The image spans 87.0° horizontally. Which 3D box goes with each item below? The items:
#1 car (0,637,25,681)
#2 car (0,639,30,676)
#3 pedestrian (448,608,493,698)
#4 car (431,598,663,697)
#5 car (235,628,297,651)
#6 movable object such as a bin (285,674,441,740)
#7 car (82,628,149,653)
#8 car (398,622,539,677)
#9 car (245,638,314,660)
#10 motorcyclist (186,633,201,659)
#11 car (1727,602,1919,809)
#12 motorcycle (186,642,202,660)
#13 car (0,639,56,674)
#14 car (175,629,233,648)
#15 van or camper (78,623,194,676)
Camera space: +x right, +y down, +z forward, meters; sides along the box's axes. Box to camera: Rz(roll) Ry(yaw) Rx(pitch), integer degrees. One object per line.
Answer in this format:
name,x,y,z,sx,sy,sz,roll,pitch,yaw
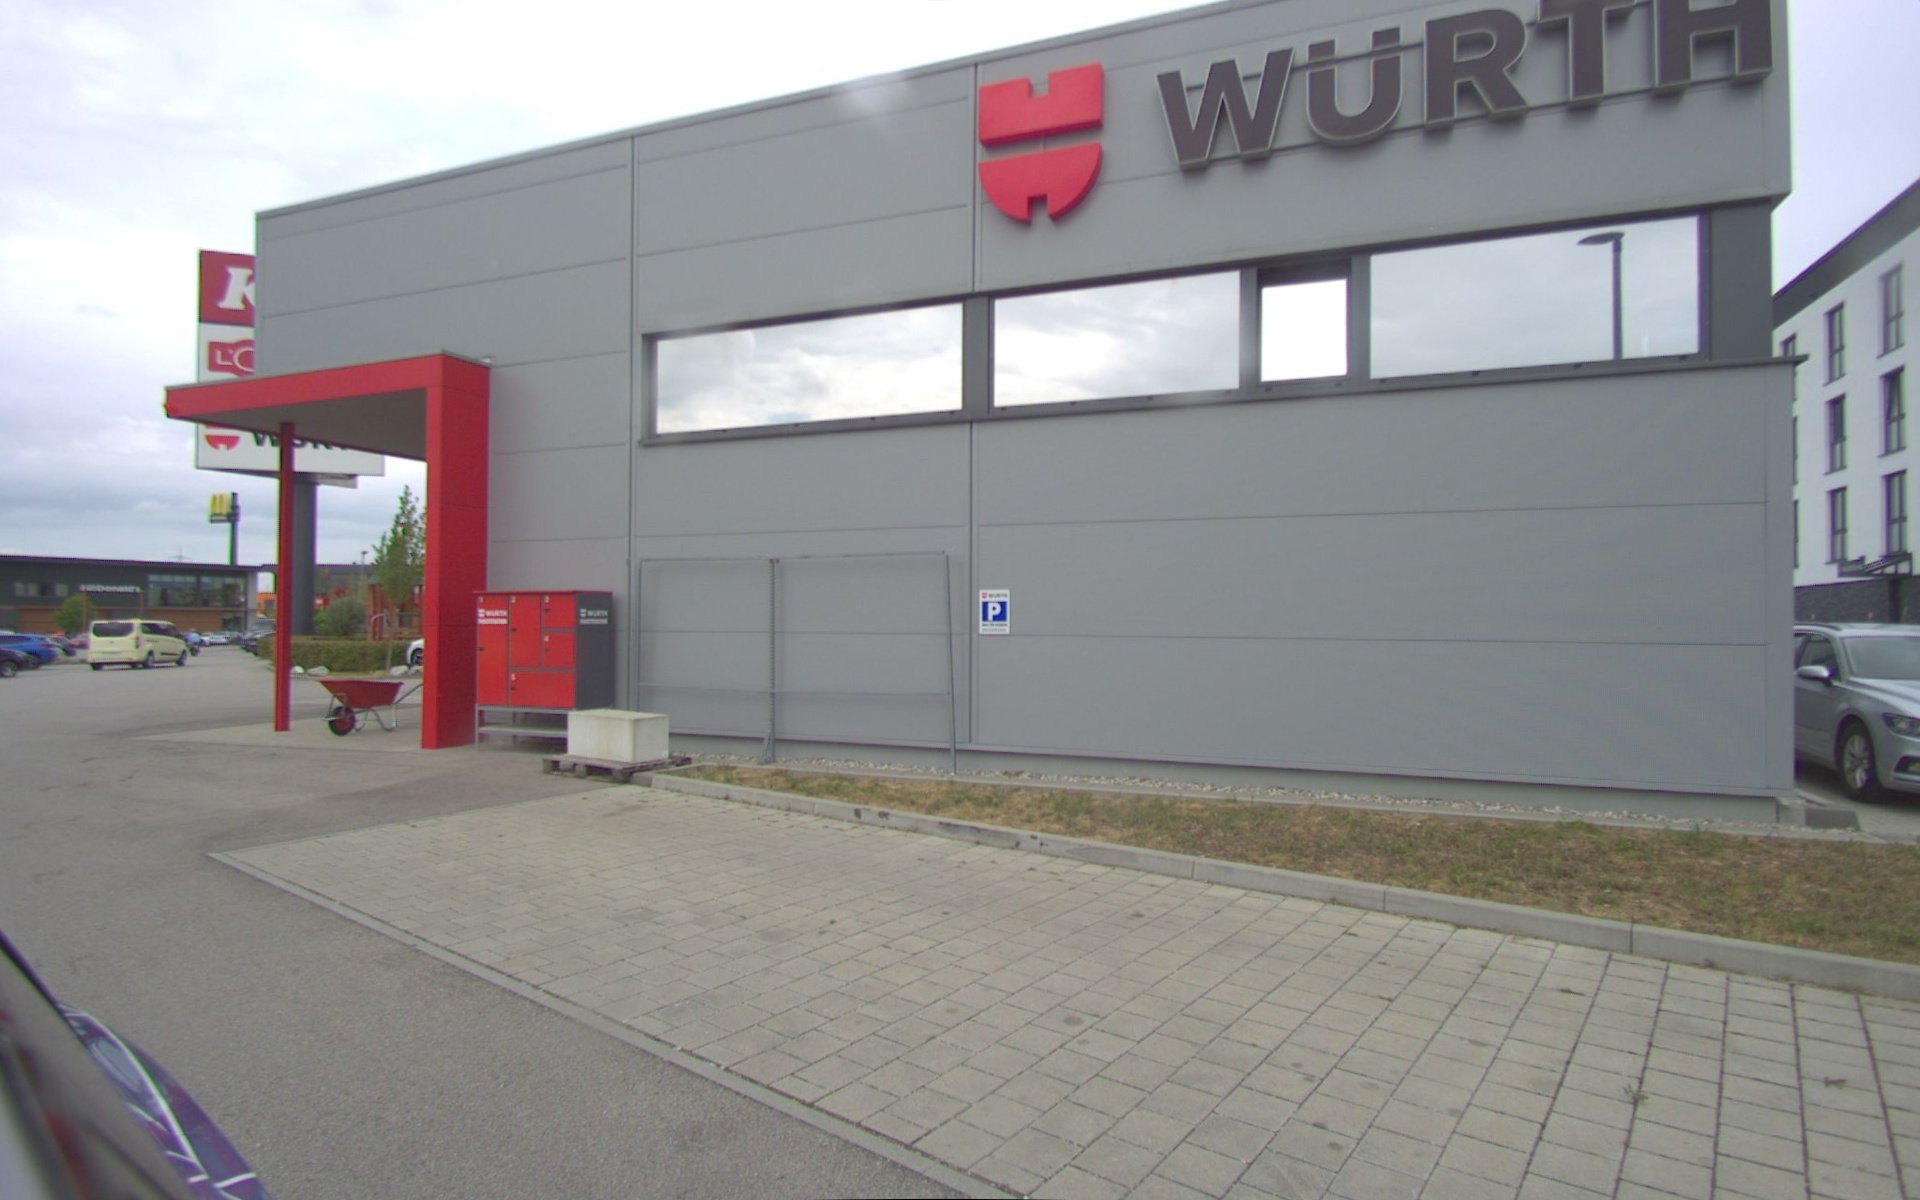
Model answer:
car,-33.288,1.960,33.473,1.499,1.458,3.097,-1,-2,26
car,-39.825,2.318,40.336,3.936,1.431,1.814,1,-2,-39
pedestrian,-10.328,1.116,21.369,0.619,1.870,0.586,-1,-1,14
car,-9.175,1.039,22.511,4.722,2.029,1.925,-1,-1,20
car,-59.383,3.380,86.649,1.997,1.852,3.949,-2,-2,38
movable object such as a bin,-7.662,1.353,13.058,0.798,0.721,1.573,-1,-2,23
car,-72.419,3.444,86.814,3.936,2.029,2.004,-1,-1,-8
car,-16.695,1.659,34.374,4.714,1.762,1.744,-1,-2,25
car,-43.035,3.073,64.011,1.500,1.305,3.394,-2,-2,43
motorcyclist,-48.836,2.914,64.507,0.742,1.651,1.040,0,-2,-37
car,8.732,0.832,9.116,1.970,1.503,4.728,1,-1,26
motorcycle,-48.796,3.251,64.475,0.803,1.083,2.154,1,-2,-37
car,-40.937,2.380,42.781,3.936,1.431,1.814,1,-2,-39
car,-70.687,3.581,94.675,3.936,1.674,2.004,-1,-1,-8
van or camper,-34.711,2.025,42.823,1.828,2.077,5.249,0,-2,-16
